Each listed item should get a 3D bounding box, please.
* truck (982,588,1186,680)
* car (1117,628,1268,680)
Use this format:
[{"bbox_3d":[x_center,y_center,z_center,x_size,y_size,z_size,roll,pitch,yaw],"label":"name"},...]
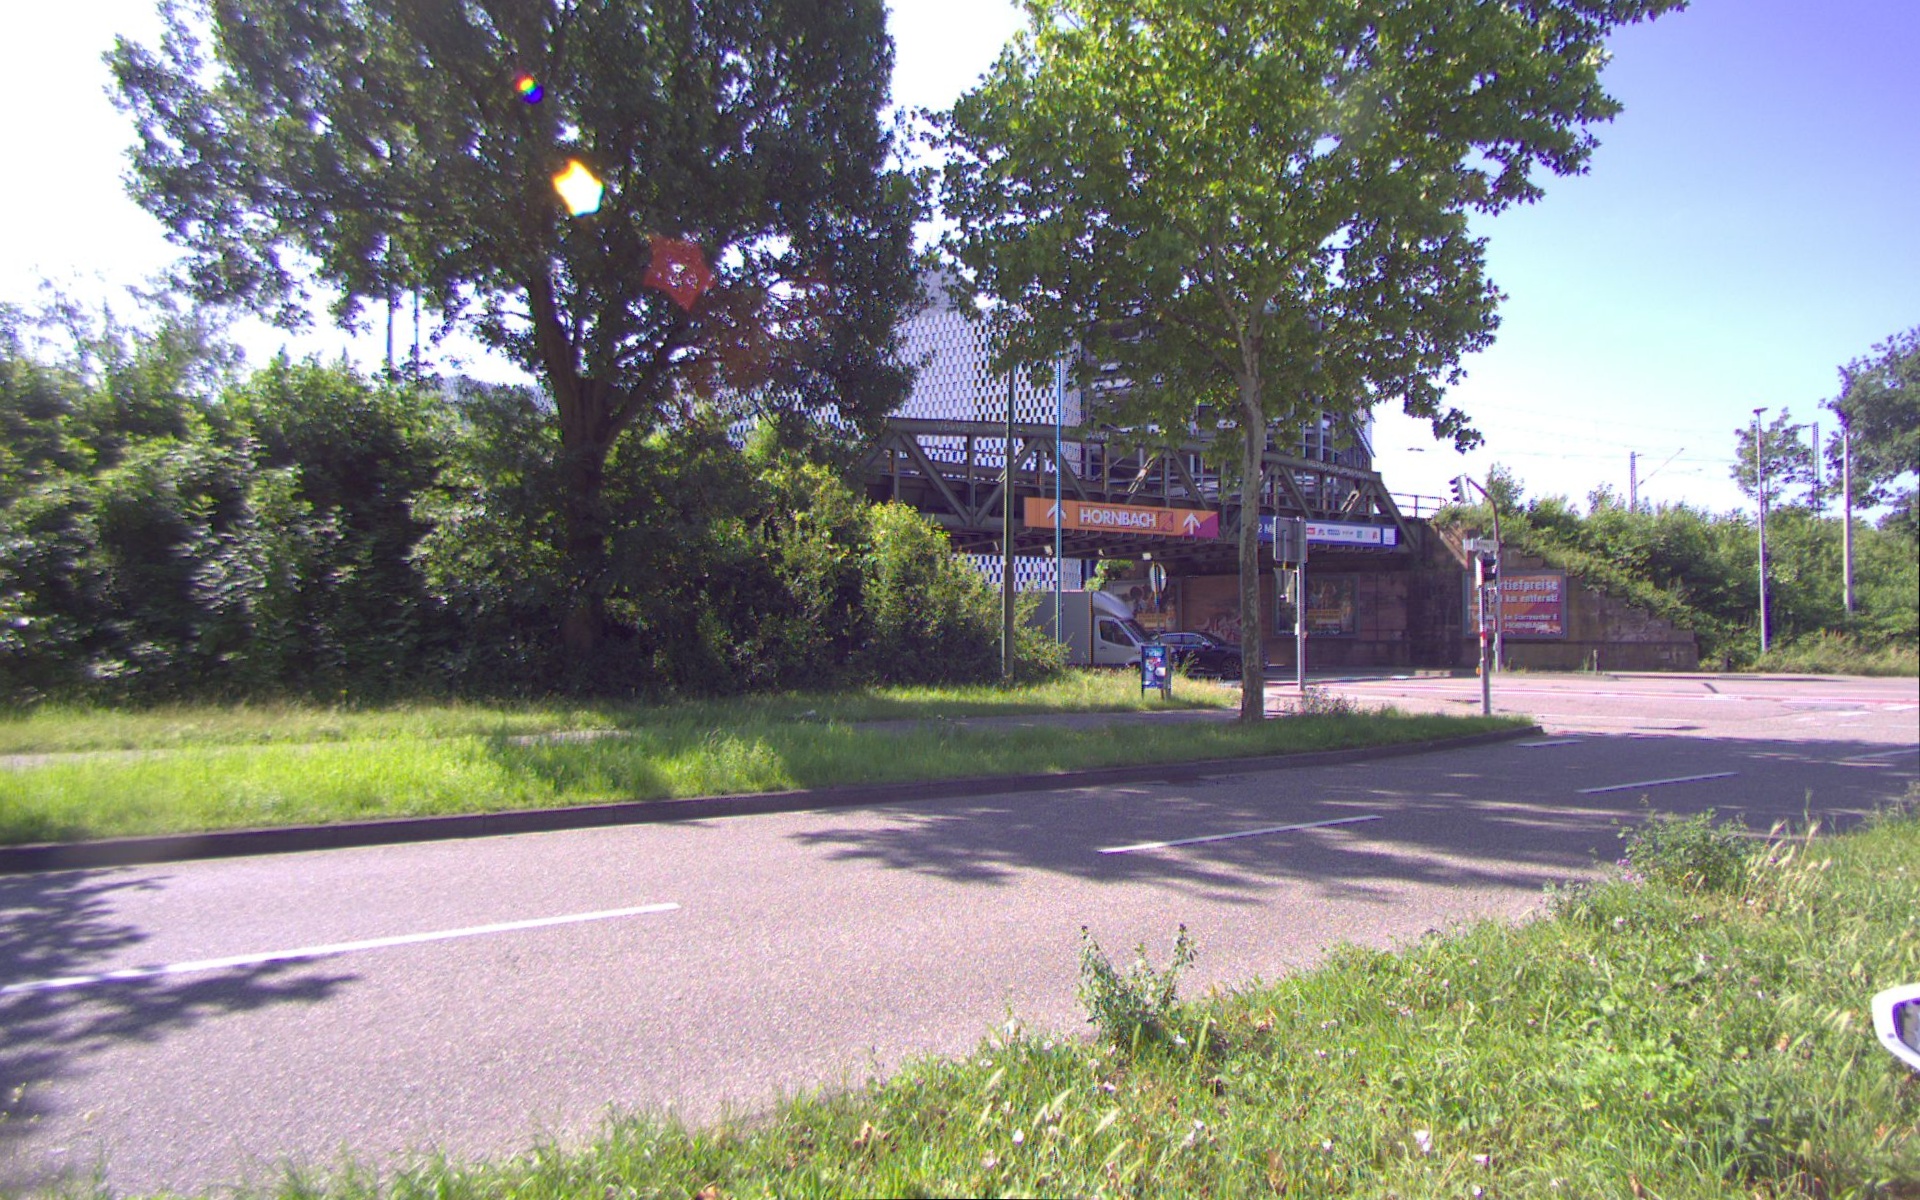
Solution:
[{"bbox_3d":[4.008,1.032,32.860,6.286,2.748,1.998,1,-1,26],"label":"truck"},{"bbox_3d":[8.186,1.862,35.434,4.957,1.617,1.526,1,-1,24],"label":"car"}]
